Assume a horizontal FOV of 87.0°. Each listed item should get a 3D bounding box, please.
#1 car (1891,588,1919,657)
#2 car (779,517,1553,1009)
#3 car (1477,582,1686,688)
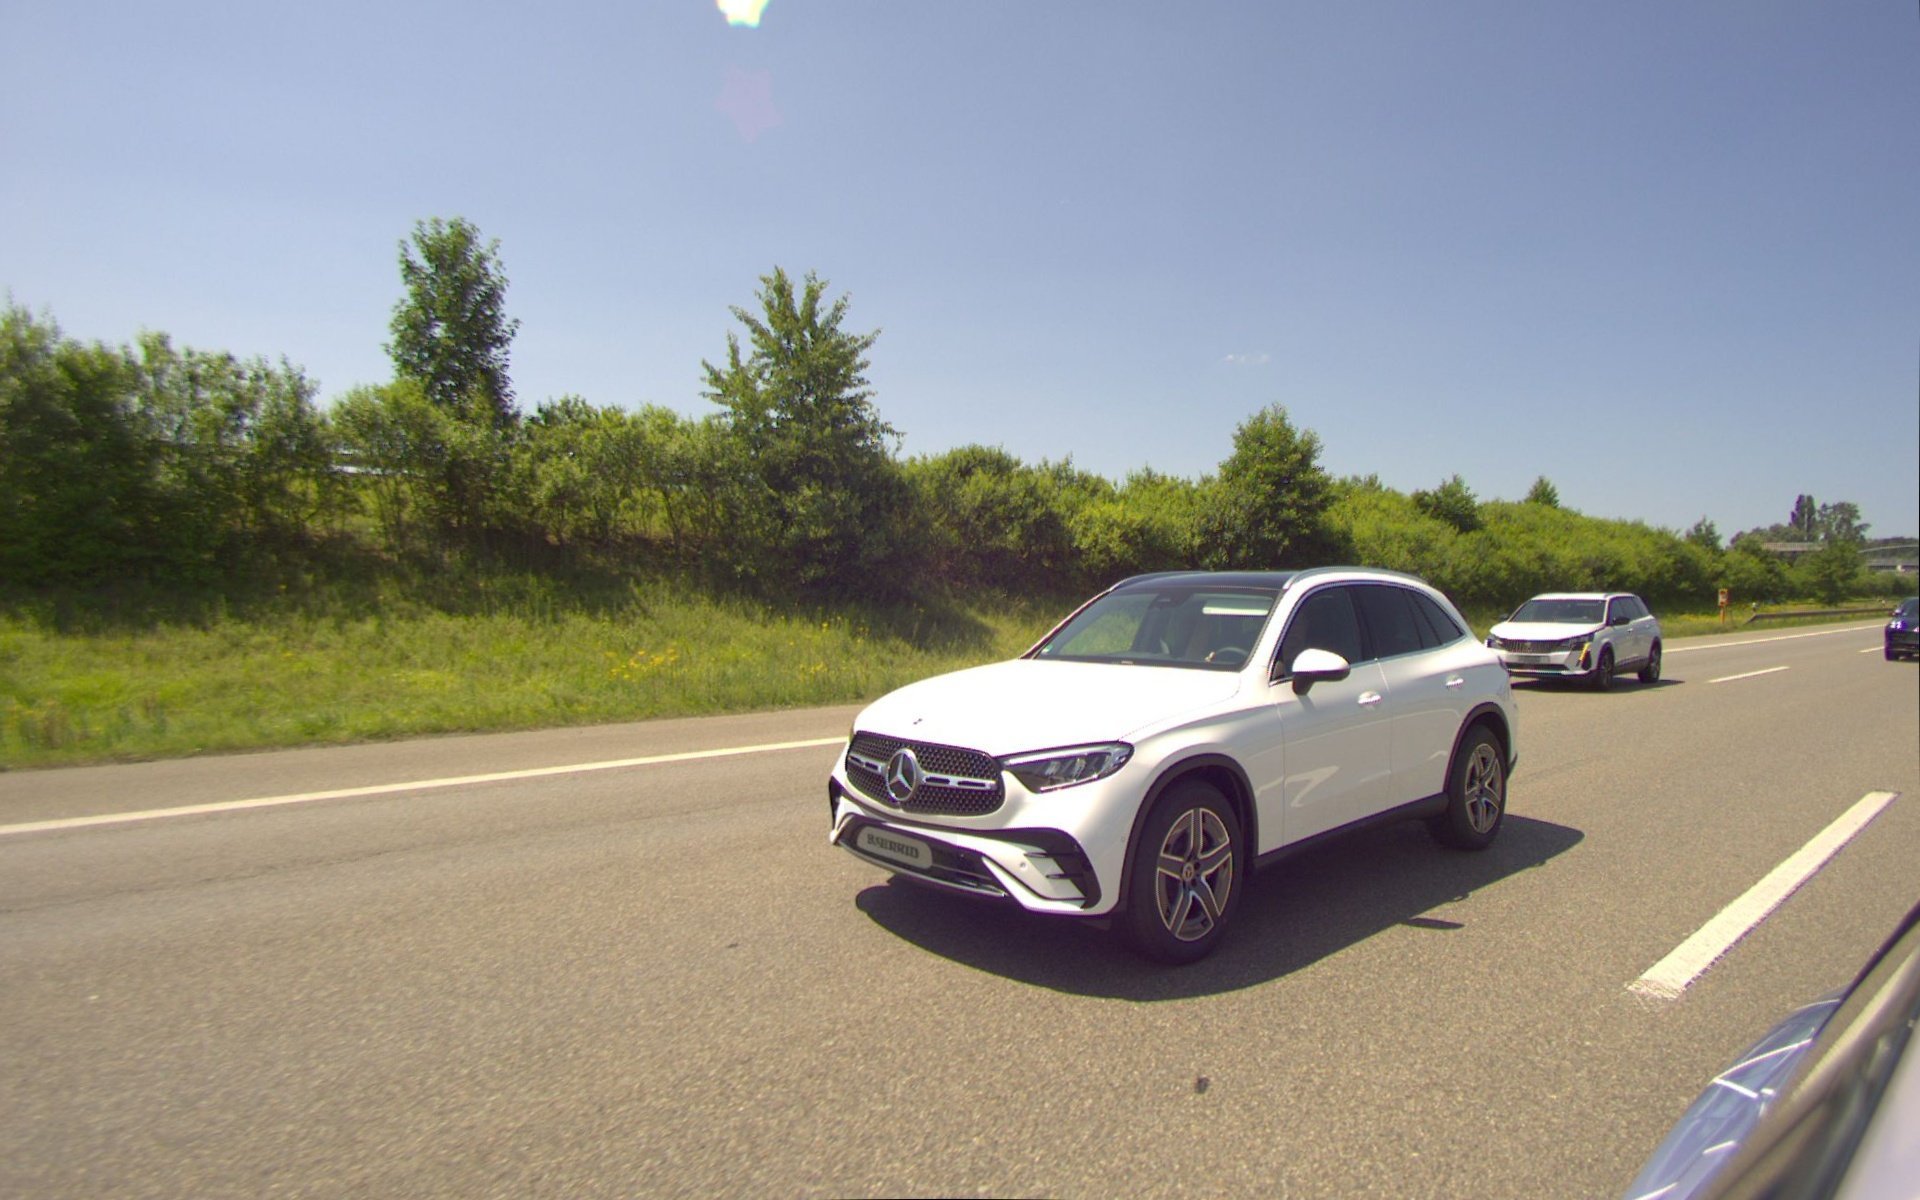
[{"bbox_3d":[25.352,0.518,25.834,4.539,1.650,1.980,-1,0,-43],"label":"car"},{"bbox_3d":[1.450,0.555,5.688,4.555,1.677,1.908,0,0,-41],"label":"car"},{"bbox_3d":[11.198,0.523,18.119,4.536,1.650,1.897,-1,0,-41],"label":"car"}]
